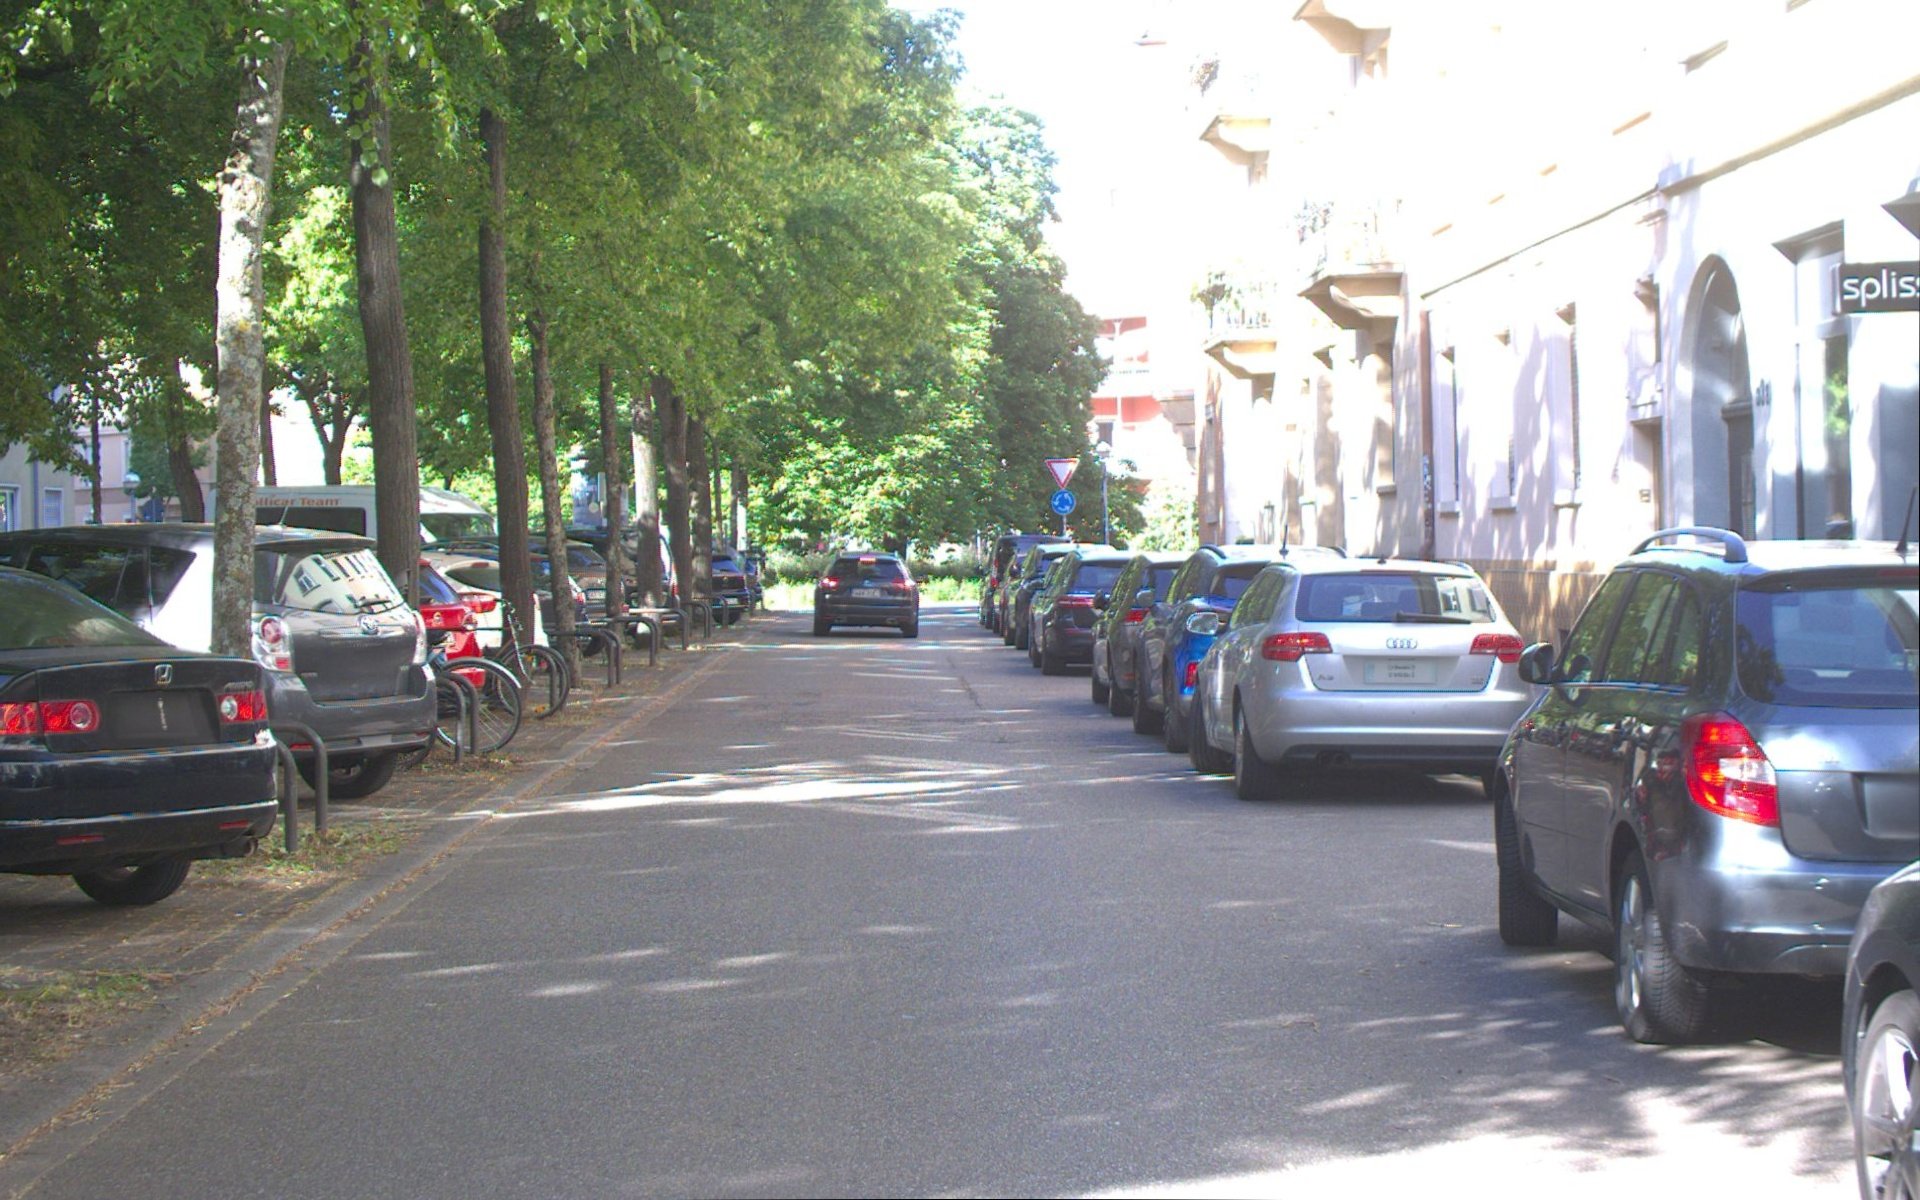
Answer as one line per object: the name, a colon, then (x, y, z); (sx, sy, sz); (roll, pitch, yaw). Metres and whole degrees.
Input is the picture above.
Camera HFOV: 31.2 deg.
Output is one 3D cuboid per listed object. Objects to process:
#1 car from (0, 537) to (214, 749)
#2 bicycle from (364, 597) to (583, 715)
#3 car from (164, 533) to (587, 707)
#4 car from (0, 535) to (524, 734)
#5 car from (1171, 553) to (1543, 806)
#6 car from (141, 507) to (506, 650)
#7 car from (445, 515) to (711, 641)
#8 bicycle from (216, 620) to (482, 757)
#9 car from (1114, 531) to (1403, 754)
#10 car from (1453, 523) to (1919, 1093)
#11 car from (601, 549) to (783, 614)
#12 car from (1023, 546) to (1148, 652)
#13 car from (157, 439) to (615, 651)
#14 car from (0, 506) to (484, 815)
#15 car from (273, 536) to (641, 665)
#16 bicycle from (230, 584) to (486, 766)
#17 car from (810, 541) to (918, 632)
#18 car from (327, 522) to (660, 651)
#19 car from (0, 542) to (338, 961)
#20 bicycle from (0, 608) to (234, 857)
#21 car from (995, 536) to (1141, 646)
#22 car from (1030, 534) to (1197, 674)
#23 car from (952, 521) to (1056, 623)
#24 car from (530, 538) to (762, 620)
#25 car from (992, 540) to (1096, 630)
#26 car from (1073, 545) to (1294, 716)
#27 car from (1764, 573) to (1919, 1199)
car: (-7.767, 0.280, 25.523); (4.109, 1.468, 1.869); (0, 1, 28)
bicycle: (-4.155, 0.479, 29.377); (1.812, 0.990, 0.425); (-1, 1, 14)
car: (-5.688, 0.161, 33.466); (3.687, 1.590, 1.770); (1, 1, 24)
car: (-5.954, 0.232, 27.883); (4.621, 1.481, 1.758); (1, 1, 28)
car: (2.385, 0.421, 21.645); (1.769, 1.426, 4.291); (0, 1, -1)
car: (-8.268, -0.266, 44.621); (4.386, 1.771, 1.897); (-1, 0, 27)
car: (-6.025, -0.347, 54.078); (3.846, 1.882, 1.840); (0, 2, 34)
bicycle: (-4.339, 0.620, 24.384); (1.900, 0.916, 0.379); (1, 1, 19)
car: (2.216, 0.269, 26.538); (1.767, 1.546, 4.184); (-1, 1, -1)
car: (2.711, 0.532, 11.354); (1.580, 1.545, 4.042); (0, 1, 0)
car: (-6.246, -0.412, 79.900); (4.138, 1.476, 1.772); (0, 0, 39)
car: (1.724, -0.041, 48.147); (1.590, 1.410, 3.632); (1, 1, 0)
car: (-8.478, -0.773, 50.910); (6.069, 2.614, 2.453); (-4, -1, 15)
car: (-5.019, 0.289, 20.086); (4.082, 1.647, 1.860); (1, 1, 26)
car: (-5.983, 0.003, 40.839); (4.102, 1.476, 1.729); (0, 0, 28)
bicycle: (-3.988, 0.485, 22.748); (1.687, 1.155, 0.379); (1, 1, 19)
car: (-1.646, -0.261, 60.028); (1.714, 1.478, 4.145); (-2, 1, 0)
car: (-6.330, -0.203, 46.562); (4.268, 1.636, 1.653); (1, 1, 27)
car: (-4.595, 0.556, 14.057); (4.015, 1.469, 1.623); (-1, 1, 34)
bicycle: (-4.143, 0.618, 16.842); (0.428, 1.126, 1.677); (0, 1, 15)
car: (1.656, -0.173, 54.292); (1.864, 1.638, 4.492); (1, 1, -4)
car: (1.817, 0.006, 41.826); (1.805, 1.558, 4.321); (-2, 1, 0)
car: (0.837, -0.561, 67.540); (1.801, 1.864, 4.273); (2, 1, -1)
car: (-5.918, -0.382, 64.654); (4.087, 1.461, 1.867); (1, 0, -14)
car: (1.499, -0.293, 62.617); (1.645, 1.532, 4.000); (2, 1, -2)
car: (1.996, 0.233, 31.687); (1.692, 1.463, 4.005); (0, 1, -1)
car: (2.686, 0.703, 5.571); (1.599, 1.487, 3.967); (-1, 1, -3)
